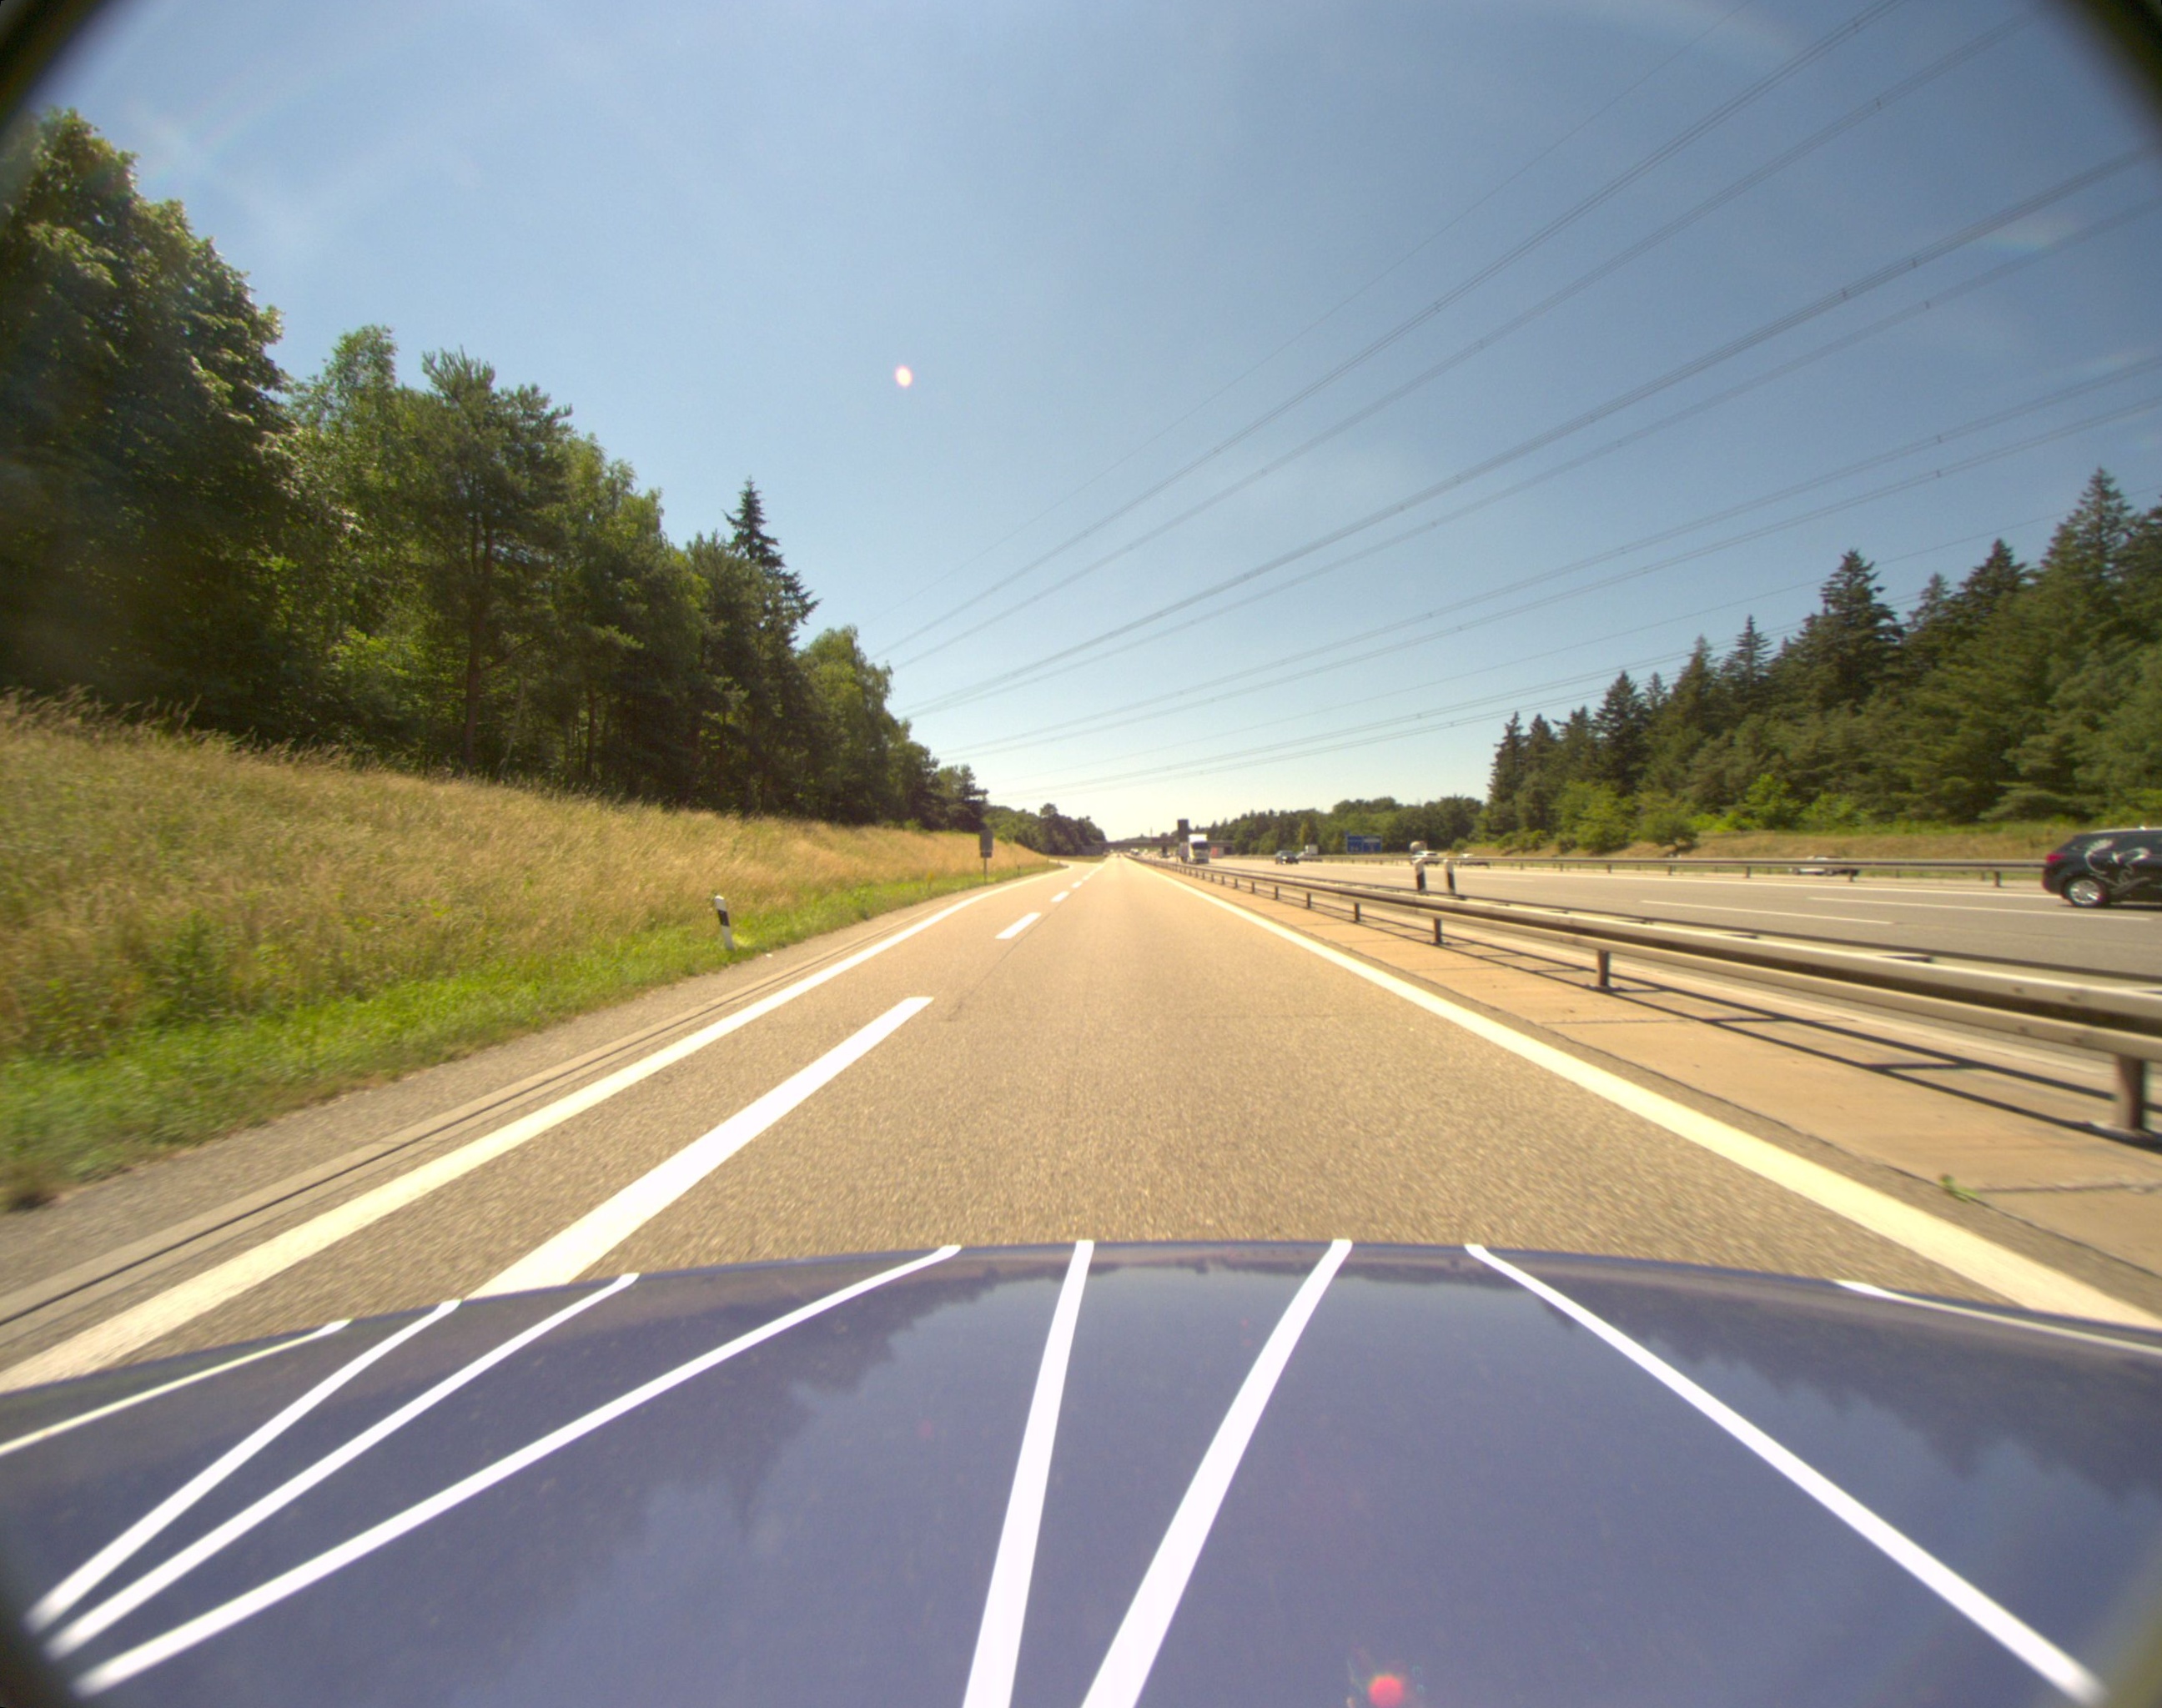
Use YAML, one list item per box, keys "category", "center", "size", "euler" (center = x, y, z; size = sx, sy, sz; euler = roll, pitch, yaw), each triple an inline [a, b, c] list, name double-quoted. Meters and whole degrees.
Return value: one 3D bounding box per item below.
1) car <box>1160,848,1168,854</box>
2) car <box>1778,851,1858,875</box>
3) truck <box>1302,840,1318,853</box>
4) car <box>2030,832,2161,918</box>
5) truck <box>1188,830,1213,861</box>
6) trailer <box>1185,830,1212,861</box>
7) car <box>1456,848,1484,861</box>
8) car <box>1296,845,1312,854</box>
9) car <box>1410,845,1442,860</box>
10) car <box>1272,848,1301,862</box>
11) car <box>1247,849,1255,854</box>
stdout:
- category: "car"
  center: [27.242, -0.984, 250.980]
  size: [2.315, 2.021, 5.405]
  euler: [-2, 1, 3]
- category: "car"
  center: [51.031, 0.601, 52.735]
  size: [1.707, 1.596, 4.061]
  euler: [-1, 0, 3]
- category: "truck"
  center: [55.809, -1.771, 184.916]
  size: [2.532, 3.007, 5.081]
  euler: [-1, 0, 3]
- category: "car"
  center: [19.249, 0.349, 12.482]
  size: [1.707, 1.466, 4.597]
  euler: [-1, 0, 3]
- category: "truck"
  center: [16.442, -1.181, 104.574]
  size: [2.979, 4.118, 5.350]
  euler: [-1, 0, 5]
- category: "trailer"
  center: [16.900, -1.208, 109.868]
  size: [2.981, 4.118, 11.699]
  euler: [-1, 0, 5]
- category: "car"
  center: [51.634, 0.040, 100.932]
  size: [1.707, 1.596, 4.061]
  euler: [-1, 0, 3]
- category: "car"
  center: [38.388, -0.786, 131.074]
  size: [1.707, 1.466, 4.061]
  euler: [-1, 0, 3]
- category: "car"
  center: [36.504, -0.149, 80.538]
  size: [1.707, 1.466, 4.061]
  euler: [-1, 0, 3]
- category: "car"
  center: [22.189, 0.102, 82.142]
  size: [1.836, 1.423, 4.999]
  euler: [-2, 0, 1]
- category: "car"
  center: [54.394, -0.910, 243.215]
  size: [1.707, 1.596, 4.061]
  euler: [-1, 0, 3]
